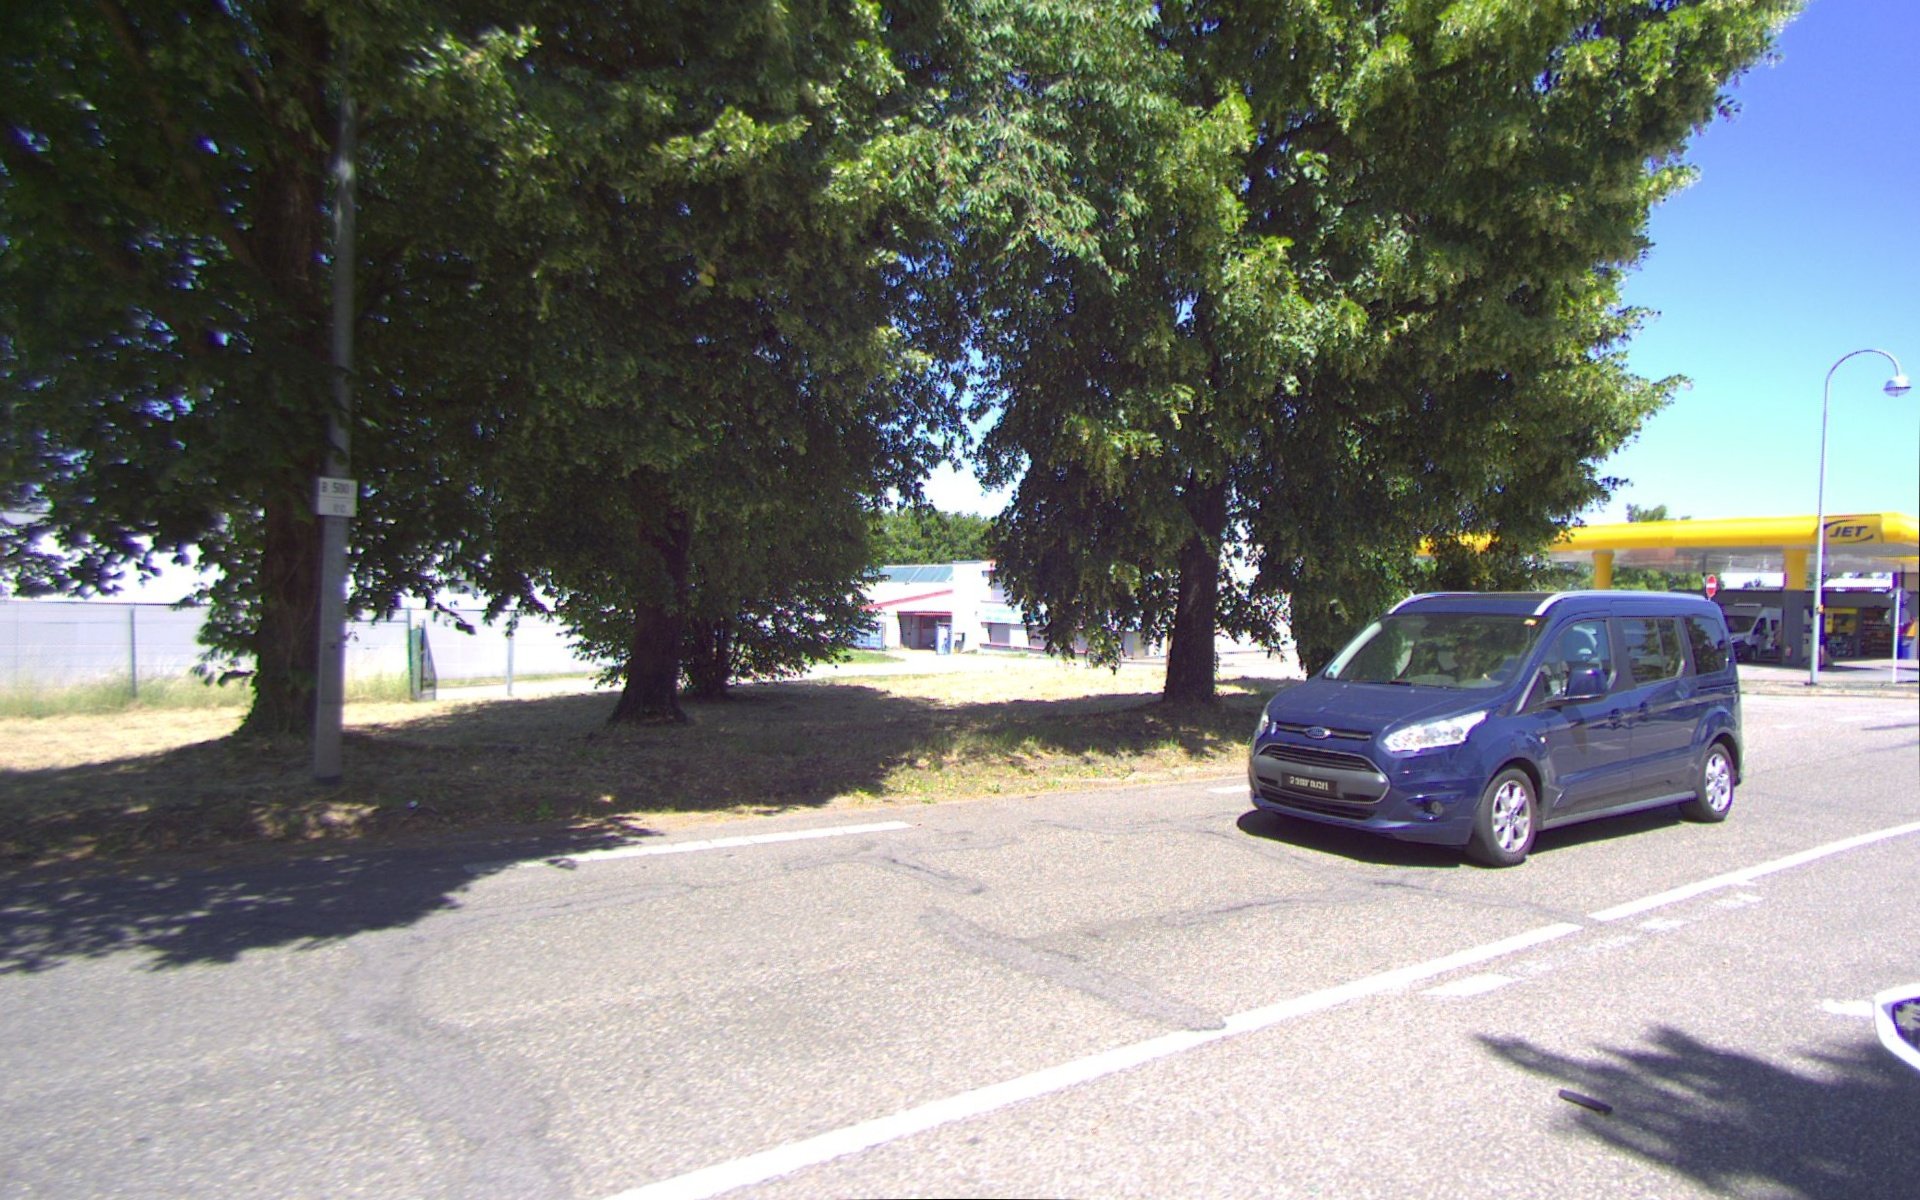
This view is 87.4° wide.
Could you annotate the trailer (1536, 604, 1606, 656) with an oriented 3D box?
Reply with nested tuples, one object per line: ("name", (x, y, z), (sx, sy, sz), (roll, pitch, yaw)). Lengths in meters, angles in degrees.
("trailer", (40.721, 2.013, 66.870), (5.859, 3.262, 1.851), (2, 0, -37))

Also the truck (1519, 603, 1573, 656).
("truck", (37.677, 1.889, 64.565), (3.160, 3.285, 1.832), (2, 0, -37))

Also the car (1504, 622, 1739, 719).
("car", (13.352, 1.351, 20.657), (1.937, 1.695, 4.248), (2, -1, -1))

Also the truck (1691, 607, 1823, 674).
("truck", (35.415, 1.816, 44.569), (6.652, 2.632, 2.223), (3, -1, -29))

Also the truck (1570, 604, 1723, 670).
("truck", (34.354, 1.853, 50.303), (6.623, 2.951, 2.639), (3, -1, -16))

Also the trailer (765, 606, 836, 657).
("trailer", (-12.034, 2.284, 75.201), (2.284, 3.454, 7.253), (3, -1, -33))

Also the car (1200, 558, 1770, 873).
("car", (4.237, 0.774, 7.821), (4.730, 1.805, 1.813), (3, -2, -32))

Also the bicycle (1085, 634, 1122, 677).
("bicycle", (4.753, 1.833, 33.326), (0.390, 1.366, 1.531), (2, -1, -26))

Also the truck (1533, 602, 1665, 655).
("truck", (46.457, 2.007, 73.274), (2.136, 3.471, 7.812), (3, -1, -37))
